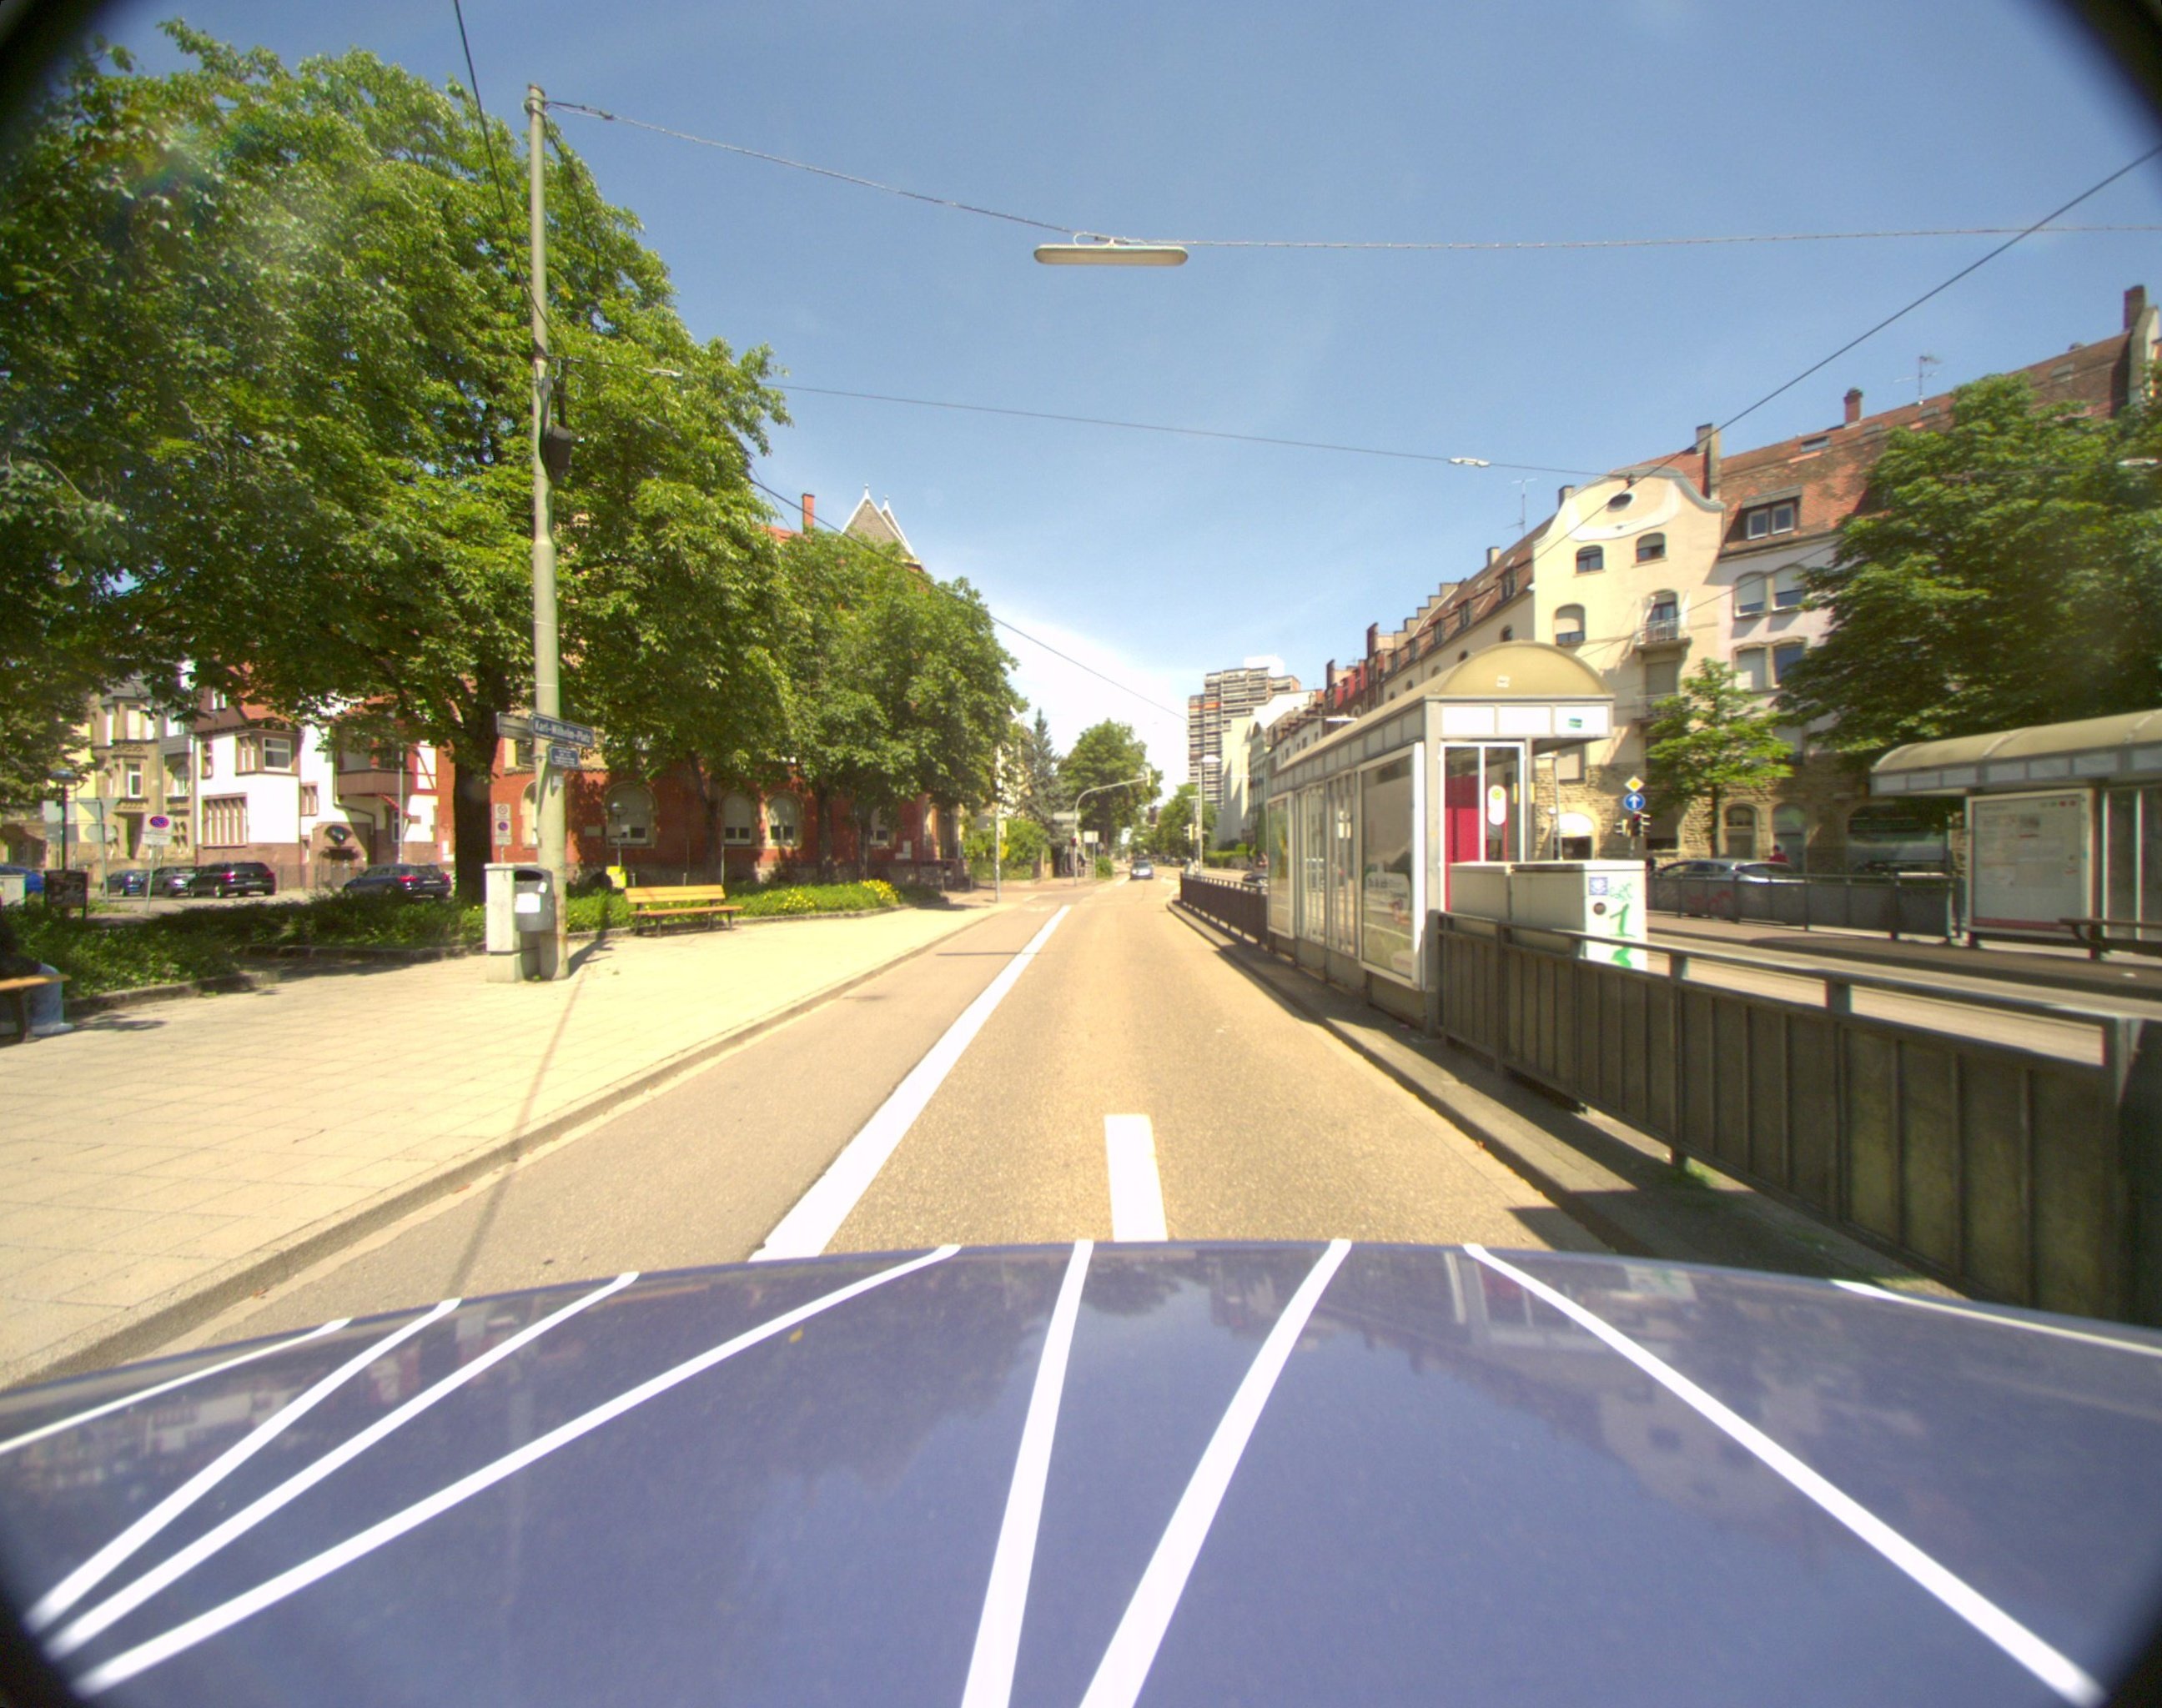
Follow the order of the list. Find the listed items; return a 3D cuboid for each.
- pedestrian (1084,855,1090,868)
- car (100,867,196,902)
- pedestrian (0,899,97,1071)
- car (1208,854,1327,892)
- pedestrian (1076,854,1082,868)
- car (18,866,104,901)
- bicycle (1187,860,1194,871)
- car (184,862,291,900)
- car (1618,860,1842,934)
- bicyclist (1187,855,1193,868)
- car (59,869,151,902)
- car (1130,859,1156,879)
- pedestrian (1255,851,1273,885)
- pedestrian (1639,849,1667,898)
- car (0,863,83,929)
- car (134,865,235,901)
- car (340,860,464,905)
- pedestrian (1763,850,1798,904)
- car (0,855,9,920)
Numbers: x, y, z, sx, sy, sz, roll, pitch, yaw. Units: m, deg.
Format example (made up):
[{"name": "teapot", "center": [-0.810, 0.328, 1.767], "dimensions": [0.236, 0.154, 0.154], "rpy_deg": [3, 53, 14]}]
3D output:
[{"name": "pedestrian", "center": [0.806, 1.059, 104.104], "dimensions": [0.686, 1.732, 0.660], "rpy_deg": [-2, 1, 3]}, {"name": "car", "center": [-48.421, 1.572, 39.433], "dimensions": [4.299, 1.608, 1.941], "rpy_deg": [-2, 1, 23]}, {"name": "pedestrian", "center": [-7.743, 0.910, 5.414], "dimensions": [0.566, 1.136, 0.725], "rpy_deg": [0, 1, -16]}, {"name": "car", "center": [8.361, 0.841, 34.270], "dimensions": [5.026, 1.474, 1.940], "rpy_deg": [-2, 1, 14]}, {"name": "pedestrian", "center": [-0.190, 0.822, 89.630], "dimensions": [0.702, 1.645, 0.665], "rpy_deg": [0, 0, 1]}, {"name": "car", "center": [-59.176, 1.709, 44.079], "dimensions": [4.299, 1.862, 1.941], "rpy_deg": [-2, 1, 23]}, {"name": "bicycle", "center": [16.117, 1.704, 112.145], "dimensions": [0.644, 1.503, 1.970], "rpy_deg": [-2, 1, -2]}, {"name": "car", "center": [-39.587, 1.275, 35.665], "dimensions": [4.299, 1.608, 1.941], "rpy_deg": [-2, 1, 23]}, {"name": "car", "center": [14.839, 0.910, 17.722], "dimensions": [1.812, 1.386, 3.999], "rpy_deg": [-2, 1, 1]}, {"name": "bicyclist", "center": [16.084, 1.120, 112.156], "dimensions": [0.644, 1.864, 0.716], "rpy_deg": [-2, 1, -2]}, {"name": "car", "center": [-53.021, 1.728, 41.268], "dimensions": [4.299, 1.608, 1.941], "rpy_deg": [-2, 1, 23]}, {"name": "car", "center": [4.737, 1.109, 58.278], "dimensions": [1.895, 1.372, 4.001], "rpy_deg": [-2, 1, 5]}, {"name": "pedestrian", "center": [9.981, 0.749, 41.423], "dimensions": [0.838, 1.813, 0.674], "rpy_deg": [0, 0, 4]}, {"name": "pedestrian", "center": [19.347, 0.653, 25.722], "dimensions": [0.594, 1.637, 0.474], "rpy_deg": [0, 0, 5]}, {"name": "car", "center": [-32.842, 1.300, 22.025], "dimensions": [1.934, 1.869, 4.315], "rpy_deg": [-2, 1, 23]}, {"name": "car", "center": [-44.147, 1.430, 37.411], "dimensions": [4.299, 1.608, 1.941], "rpy_deg": [-2, 1, 23]}, {"name": "car", "center": [-27.042, 1.133, 30.285], "dimensions": [4.299, 1.608, 1.941], "rpy_deg": [-2, 1, 23]}, {"name": "pedestrian", "center": [20.200, 0.651, 21.951], "dimensions": [0.594, 1.542, 0.474], "rpy_deg": [0, 0, -1]}, {"name": "car", "center": [-37.658, 1.199, 23.793], "dimensions": [1.934, 2.178, 4.315], "rpy_deg": [-2, 1, 23]}]
